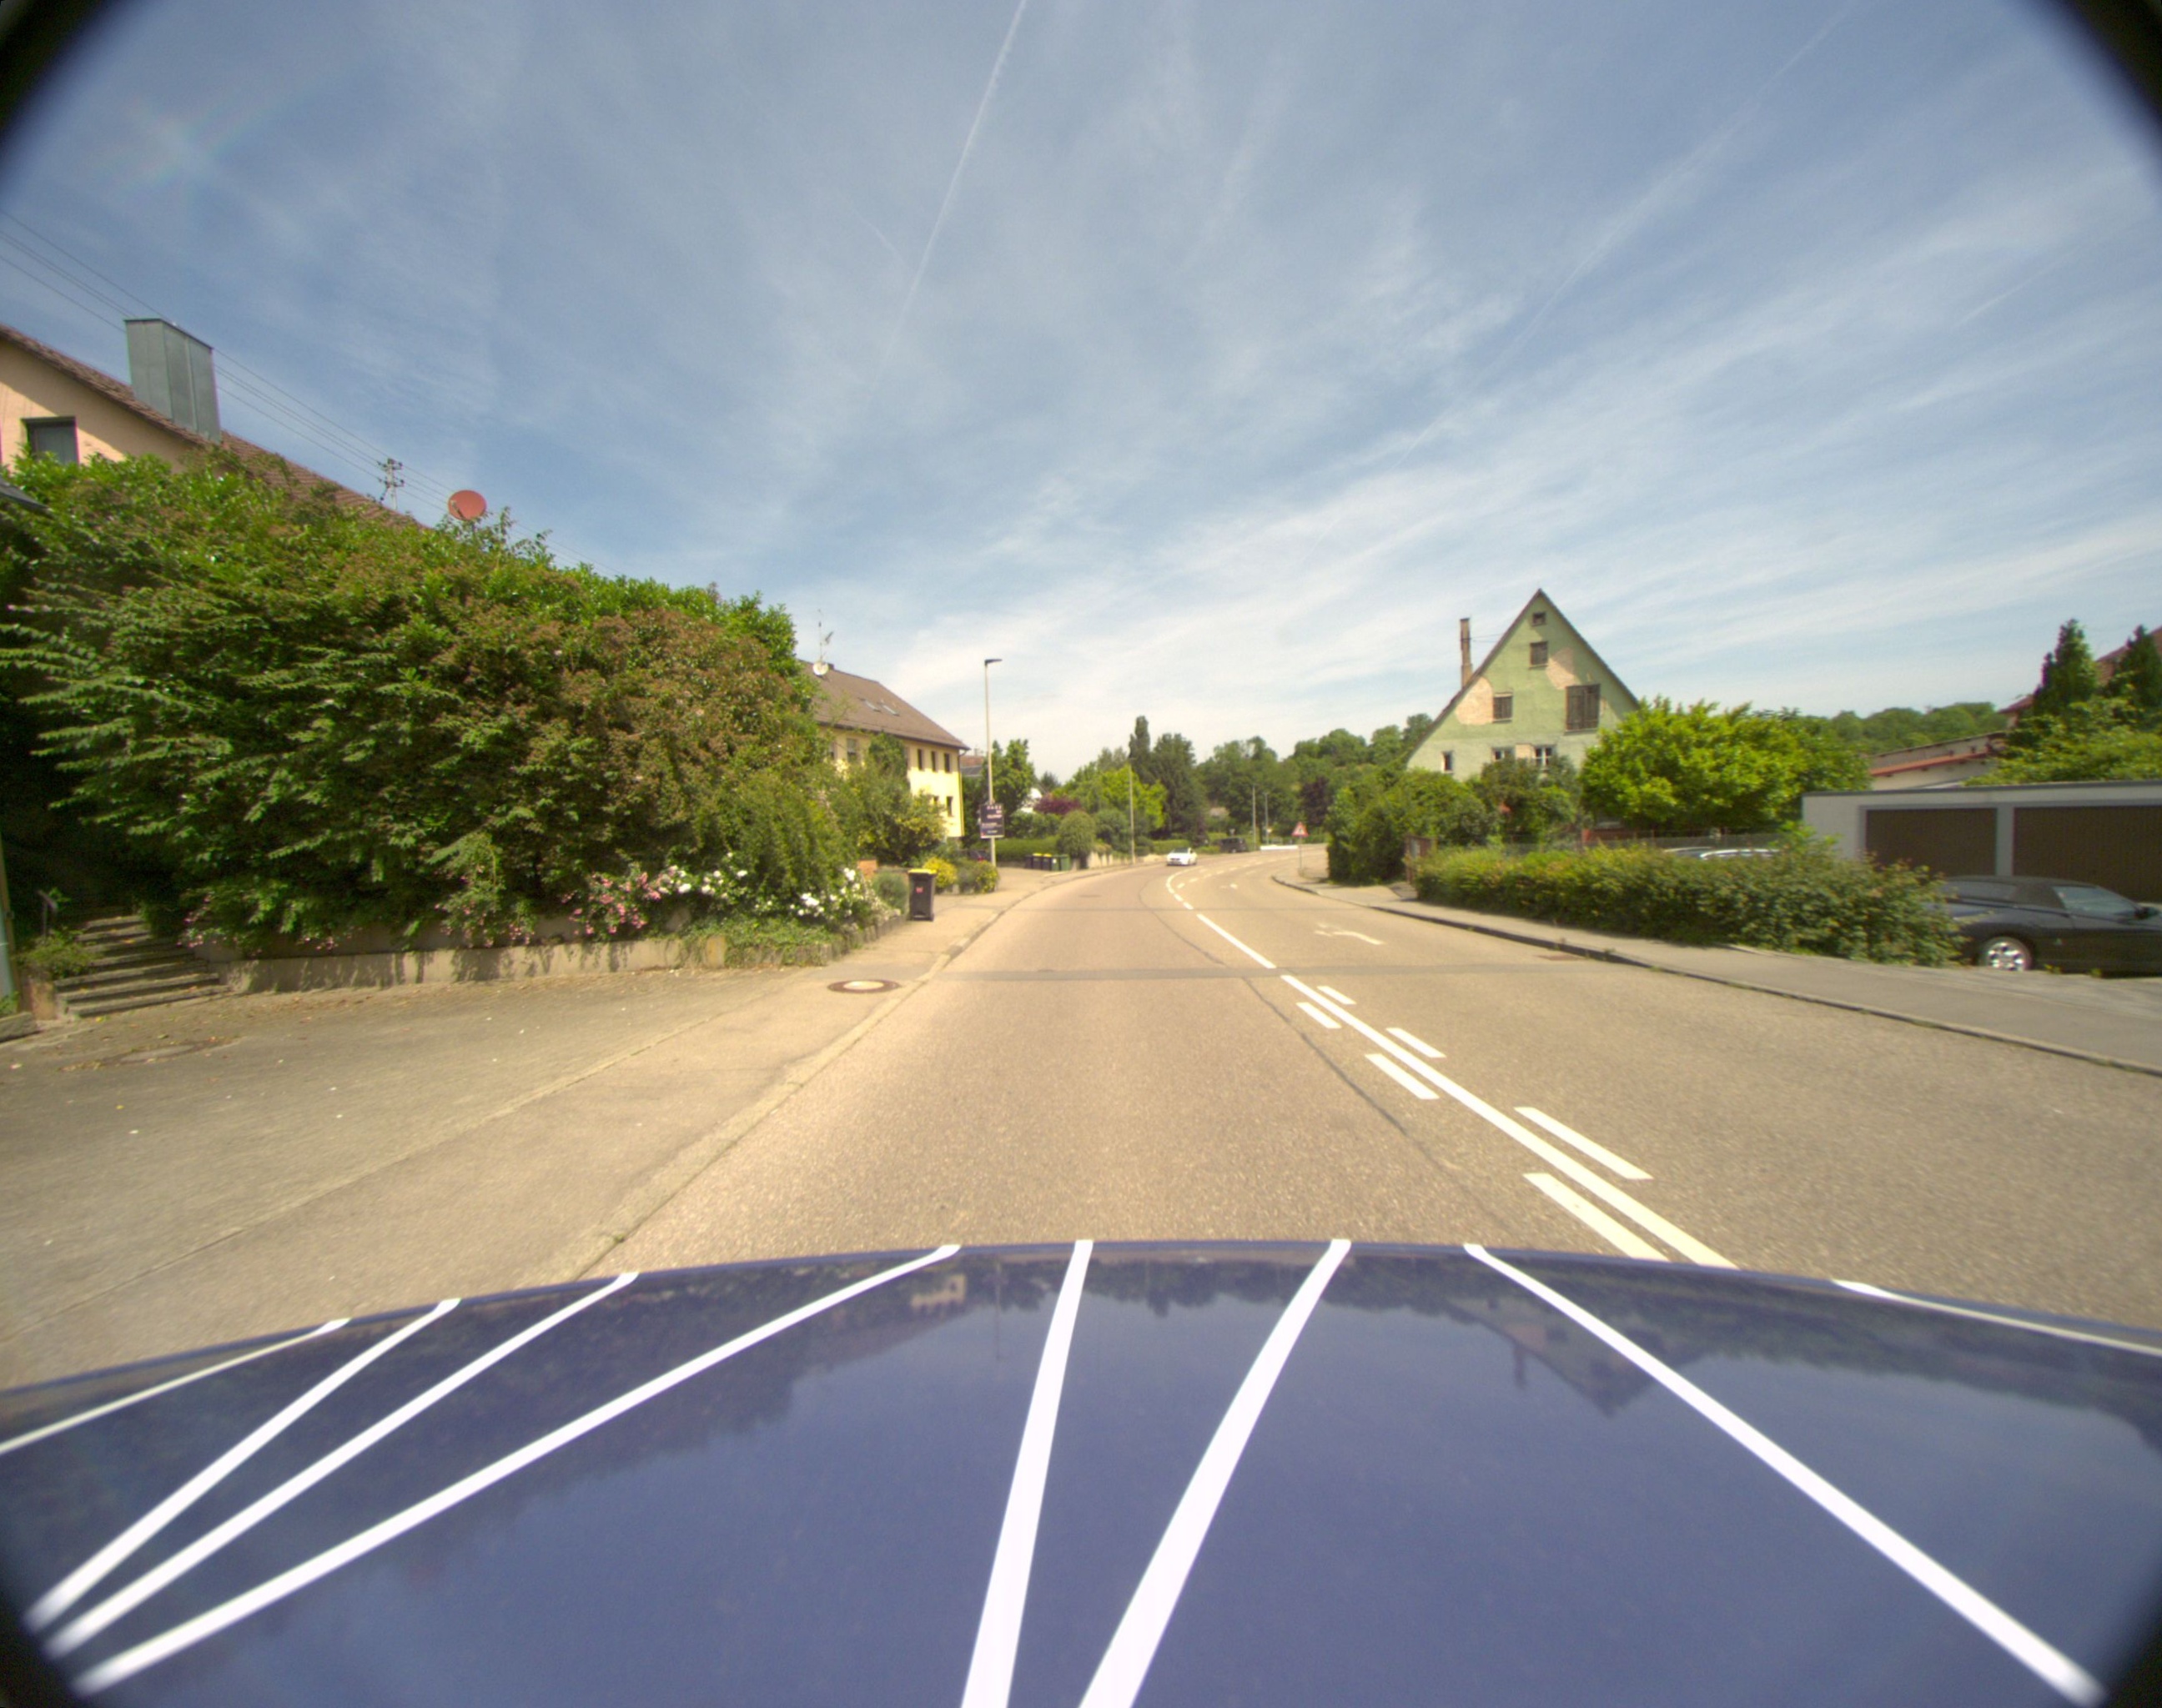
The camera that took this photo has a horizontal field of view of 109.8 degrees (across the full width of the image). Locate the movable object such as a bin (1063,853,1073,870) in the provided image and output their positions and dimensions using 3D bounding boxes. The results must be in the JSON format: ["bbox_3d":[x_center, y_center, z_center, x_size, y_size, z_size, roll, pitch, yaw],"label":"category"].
[{"bbox_3d":[-0.849,0.466,48.610,0.485,1.101,0.565,-1,2,14],"label":"movable object such as a bin"}]

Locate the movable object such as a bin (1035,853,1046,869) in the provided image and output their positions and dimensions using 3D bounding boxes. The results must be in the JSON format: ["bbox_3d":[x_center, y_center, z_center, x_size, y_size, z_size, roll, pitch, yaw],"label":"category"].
[{"bbox_3d":[-2.637,0.446,49.228,0.484,1.016,0.565,2,3,21],"label":"movable object such as a bin"}]

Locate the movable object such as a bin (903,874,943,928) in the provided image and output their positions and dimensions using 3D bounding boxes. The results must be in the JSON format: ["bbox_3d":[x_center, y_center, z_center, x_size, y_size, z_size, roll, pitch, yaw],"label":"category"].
[{"bbox_3d":[-3.326,0.978,16.056,0.589,1.053,0.919,-1,1,3],"label":"movable object such as a bin"}]

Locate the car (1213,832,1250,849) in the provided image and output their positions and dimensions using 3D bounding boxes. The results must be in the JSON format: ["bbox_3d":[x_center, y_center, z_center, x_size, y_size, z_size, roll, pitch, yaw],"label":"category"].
[{"bbox_3d":[18.196,-1.683,91.855,3.900,1.938,1.959,-1,1,33],"label":"car"}]

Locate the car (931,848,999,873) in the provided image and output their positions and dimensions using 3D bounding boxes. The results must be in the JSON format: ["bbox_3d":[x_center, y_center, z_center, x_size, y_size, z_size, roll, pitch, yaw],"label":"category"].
[{"bbox_3d":[-7.028,0.382,46.031,3.685,1.410,1.646,-1,2,18],"label":"car"}]

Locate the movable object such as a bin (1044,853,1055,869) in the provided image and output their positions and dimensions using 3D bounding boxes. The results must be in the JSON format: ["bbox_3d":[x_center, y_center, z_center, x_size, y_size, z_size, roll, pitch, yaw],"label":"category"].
[{"bbox_3d":[-2.027,0.454,49.021,0.484,1.016,0.565,2,3,21],"label":"movable object such as a bin"}]

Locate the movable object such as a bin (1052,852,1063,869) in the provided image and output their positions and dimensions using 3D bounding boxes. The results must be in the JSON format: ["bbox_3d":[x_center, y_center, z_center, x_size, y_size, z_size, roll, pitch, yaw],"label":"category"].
[{"bbox_3d":[-1.486,0.436,48.788,0.485,1.064,0.565,-1,2,21],"label":"movable object such as a bin"}]

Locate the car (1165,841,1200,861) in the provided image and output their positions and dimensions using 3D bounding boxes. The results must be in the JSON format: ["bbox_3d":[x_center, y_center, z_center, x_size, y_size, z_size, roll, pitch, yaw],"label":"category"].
[{"bbox_3d":[8.362,-0.271,62.222,1.823,1.543,4.006,0,1,23],"label":"car"}]

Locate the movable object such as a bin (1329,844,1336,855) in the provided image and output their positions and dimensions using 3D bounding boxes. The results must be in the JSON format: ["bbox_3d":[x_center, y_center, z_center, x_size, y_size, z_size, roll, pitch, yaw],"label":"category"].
[{"bbox_3d":[25.433,-0.489,76.971,0.553,1.075,0.541,-1,1,6],"label":"movable object such as a bin"}]

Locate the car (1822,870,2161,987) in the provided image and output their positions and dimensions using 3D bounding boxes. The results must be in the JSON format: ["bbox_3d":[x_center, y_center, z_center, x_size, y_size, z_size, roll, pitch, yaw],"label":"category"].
[{"bbox_3d":[12.798,0.978,10.224,3.967,1.240,1.646,3,1,0],"label":"car"}]

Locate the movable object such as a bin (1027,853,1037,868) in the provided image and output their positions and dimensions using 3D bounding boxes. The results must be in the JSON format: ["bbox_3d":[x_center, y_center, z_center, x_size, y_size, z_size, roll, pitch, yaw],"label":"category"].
[{"bbox_3d":[-3.184,0.418,49.364,0.449,0.950,0.516,3,3,18],"label":"movable object such as a bin"}]
